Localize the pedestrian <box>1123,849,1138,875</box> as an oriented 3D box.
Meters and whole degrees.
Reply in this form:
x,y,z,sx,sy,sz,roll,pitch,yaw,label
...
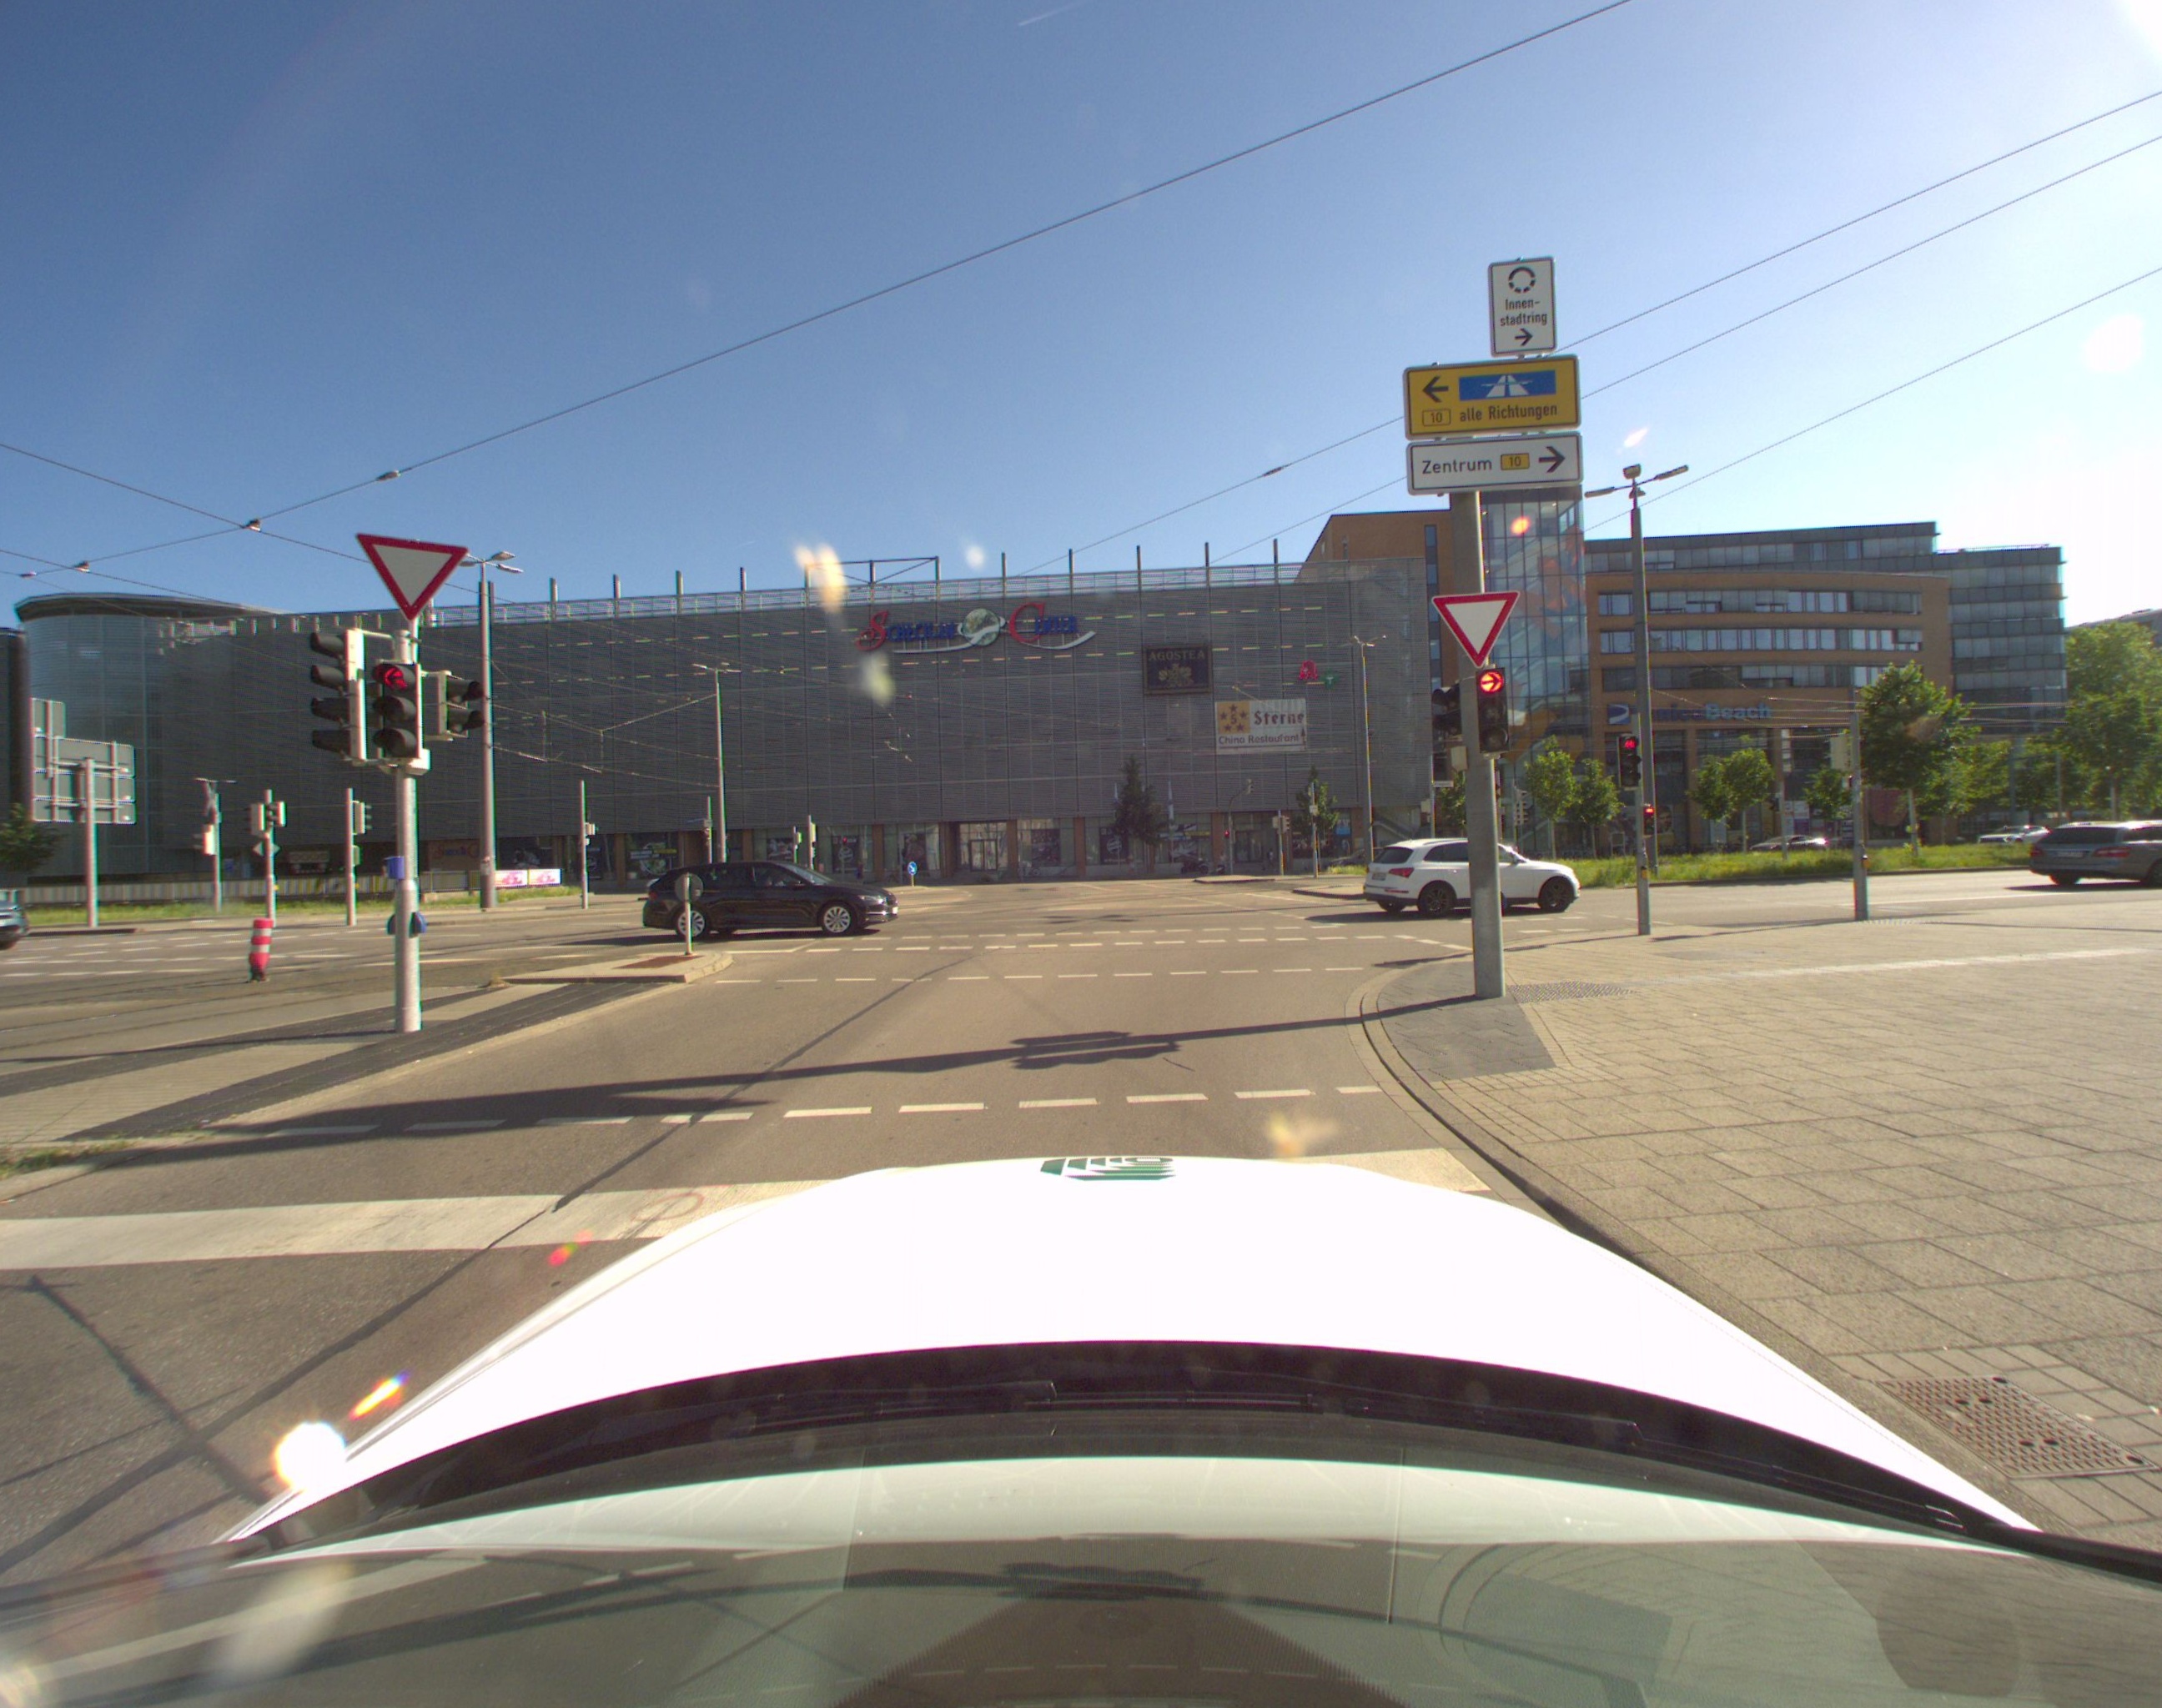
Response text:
x,y,z,sx,sy,sz,roll,pitch,yaw,label
3.635,0.578,59.830,0.945,1.829,0.847,-3,-4,7,pedestrian

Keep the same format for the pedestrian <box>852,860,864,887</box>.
x,y,z,sx,sy,sz,roll,pitch,yaw,label
-15.202,1.315,55.466,0.695,1.797,0.727,-3,0,-14,pedestrian

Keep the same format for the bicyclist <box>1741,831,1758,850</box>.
x,y,z,sx,sy,sz,roll,pitch,yaw,label
50.200,-0.987,61.136,0.750,1.386,0.566,-2,1,1,bicyclist

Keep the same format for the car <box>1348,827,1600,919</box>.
x,y,z,sx,sy,sz,roll,pitch,yaw,label
8.484,0.376,17.784,4.667,1.707,1.931,-2,0,-9,car

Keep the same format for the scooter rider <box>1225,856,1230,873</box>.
x,y,z,sx,sy,sz,roll,pitch,yaw,label
9.908,0.708,54.951,0.286,1.200,0.387,-1,-1,12,scooter rider

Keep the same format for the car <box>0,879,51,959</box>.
x,y,z,sx,sy,sz,roll,pitch,yaw,label
-22.899,1.282,15.513,4.251,1.514,1.708,-1,0,-1,car

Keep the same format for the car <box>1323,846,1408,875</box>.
x,y,z,sx,sy,sz,roll,pitch,yaw,label
15.882,0.350,45.622,4.132,1.470,1.841,2,-1,0,car

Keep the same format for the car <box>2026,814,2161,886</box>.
x,y,z,sx,sy,sz,roll,pitch,yaw,label
25.366,-0.148,19.157,4.852,1.572,1.702,-2,0,-8,car

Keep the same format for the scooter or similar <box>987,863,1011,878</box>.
x,y,z,sx,sy,sz,roll,pitch,yaw,label
-6.183,1.208,61.234,1.790,1.066,0.611,-2,1,-6,scooter or similar

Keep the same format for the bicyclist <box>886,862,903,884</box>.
x,y,z,sx,sy,sz,roll,pitch,yaw,label
-12.628,1.279,55.241,0.667,1.427,0.855,-1,2,45,bicyclist

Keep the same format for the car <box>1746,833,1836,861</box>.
x,y,z,sx,sy,sz,roll,pitch,yaw,label
44.346,-0.421,50.913,4.284,1.584,1.836,2,-1,-7,car

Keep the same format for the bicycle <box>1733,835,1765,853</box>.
x,y,z,sx,sy,sz,roll,pitch,yaw,label
50.134,-0.752,61.133,1.850,1.217,0.569,-2,1,1,bicycle

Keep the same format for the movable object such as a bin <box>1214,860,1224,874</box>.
x,y,z,sx,sy,sz,roll,pitch,yaw,label
9.272,0.885,54.741,0.608,0.904,0.972,-1,-1,12,movable object such as a bin

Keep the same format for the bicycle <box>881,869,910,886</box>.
x,y,z,sx,sy,sz,roll,pitch,yaw,label
-12.585,1.589,55.314,0.562,1.086,1.874,-1,2,45,bicycle

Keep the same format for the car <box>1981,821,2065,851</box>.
x,y,z,sx,sy,sz,roll,pitch,yaw,label
62.529,-1.165,54.067,4.331,1.863,1.832,-1,-1,-14,car

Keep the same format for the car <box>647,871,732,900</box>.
x,y,z,sx,sy,sz,roll,pitch,yaw,label
-24.114,1.927,50.255,4.274,1.645,1.841,2,-1,1,car

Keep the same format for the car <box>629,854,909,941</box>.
x,y,z,sx,sy,sz,roll,pitch,yaw,label
-5.896,0.791,15.809,4.653,1.462,1.833,-2,0,0,car

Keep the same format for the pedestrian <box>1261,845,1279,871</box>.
x,y,z,sx,sy,sz,roll,pitch,yaw,label
13.713,0.306,59.108,1.007,1.828,1.037,-3,0,5,pedestrian

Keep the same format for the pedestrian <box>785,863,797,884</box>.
x,y,z,sx,sy,sz,roll,pitch,yaw,label
-22.307,1.512,62.681,0.654,1.601,0.597,-1,-1,20,pedestrian

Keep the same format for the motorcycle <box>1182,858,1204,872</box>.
x,y,z,sx,sy,sz,roll,pitch,yaw,label
8.313,0.834,60.598,1.630,1.004,0.448,0,0,8,motorcycle

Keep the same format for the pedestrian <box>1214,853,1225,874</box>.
x,y,z,sx,sy,sz,roll,pitch,yaw,label
9.405,0.634,55.204,0.650,1.414,0.853,-1,-1,12,pedestrian

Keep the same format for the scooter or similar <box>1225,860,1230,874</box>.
x,y,z,sx,sy,sz,roll,pitch,yaw,label
9.920,0.872,55.009,0.293,0.873,1.007,-1,-1,12,scooter or similar

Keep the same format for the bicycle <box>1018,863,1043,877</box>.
x,y,z,sx,sy,sz,roll,pitch,yaw,label
-3.781,1.178,60.793,1.815,0.989,0.556,-2,1,-8,bicycle
